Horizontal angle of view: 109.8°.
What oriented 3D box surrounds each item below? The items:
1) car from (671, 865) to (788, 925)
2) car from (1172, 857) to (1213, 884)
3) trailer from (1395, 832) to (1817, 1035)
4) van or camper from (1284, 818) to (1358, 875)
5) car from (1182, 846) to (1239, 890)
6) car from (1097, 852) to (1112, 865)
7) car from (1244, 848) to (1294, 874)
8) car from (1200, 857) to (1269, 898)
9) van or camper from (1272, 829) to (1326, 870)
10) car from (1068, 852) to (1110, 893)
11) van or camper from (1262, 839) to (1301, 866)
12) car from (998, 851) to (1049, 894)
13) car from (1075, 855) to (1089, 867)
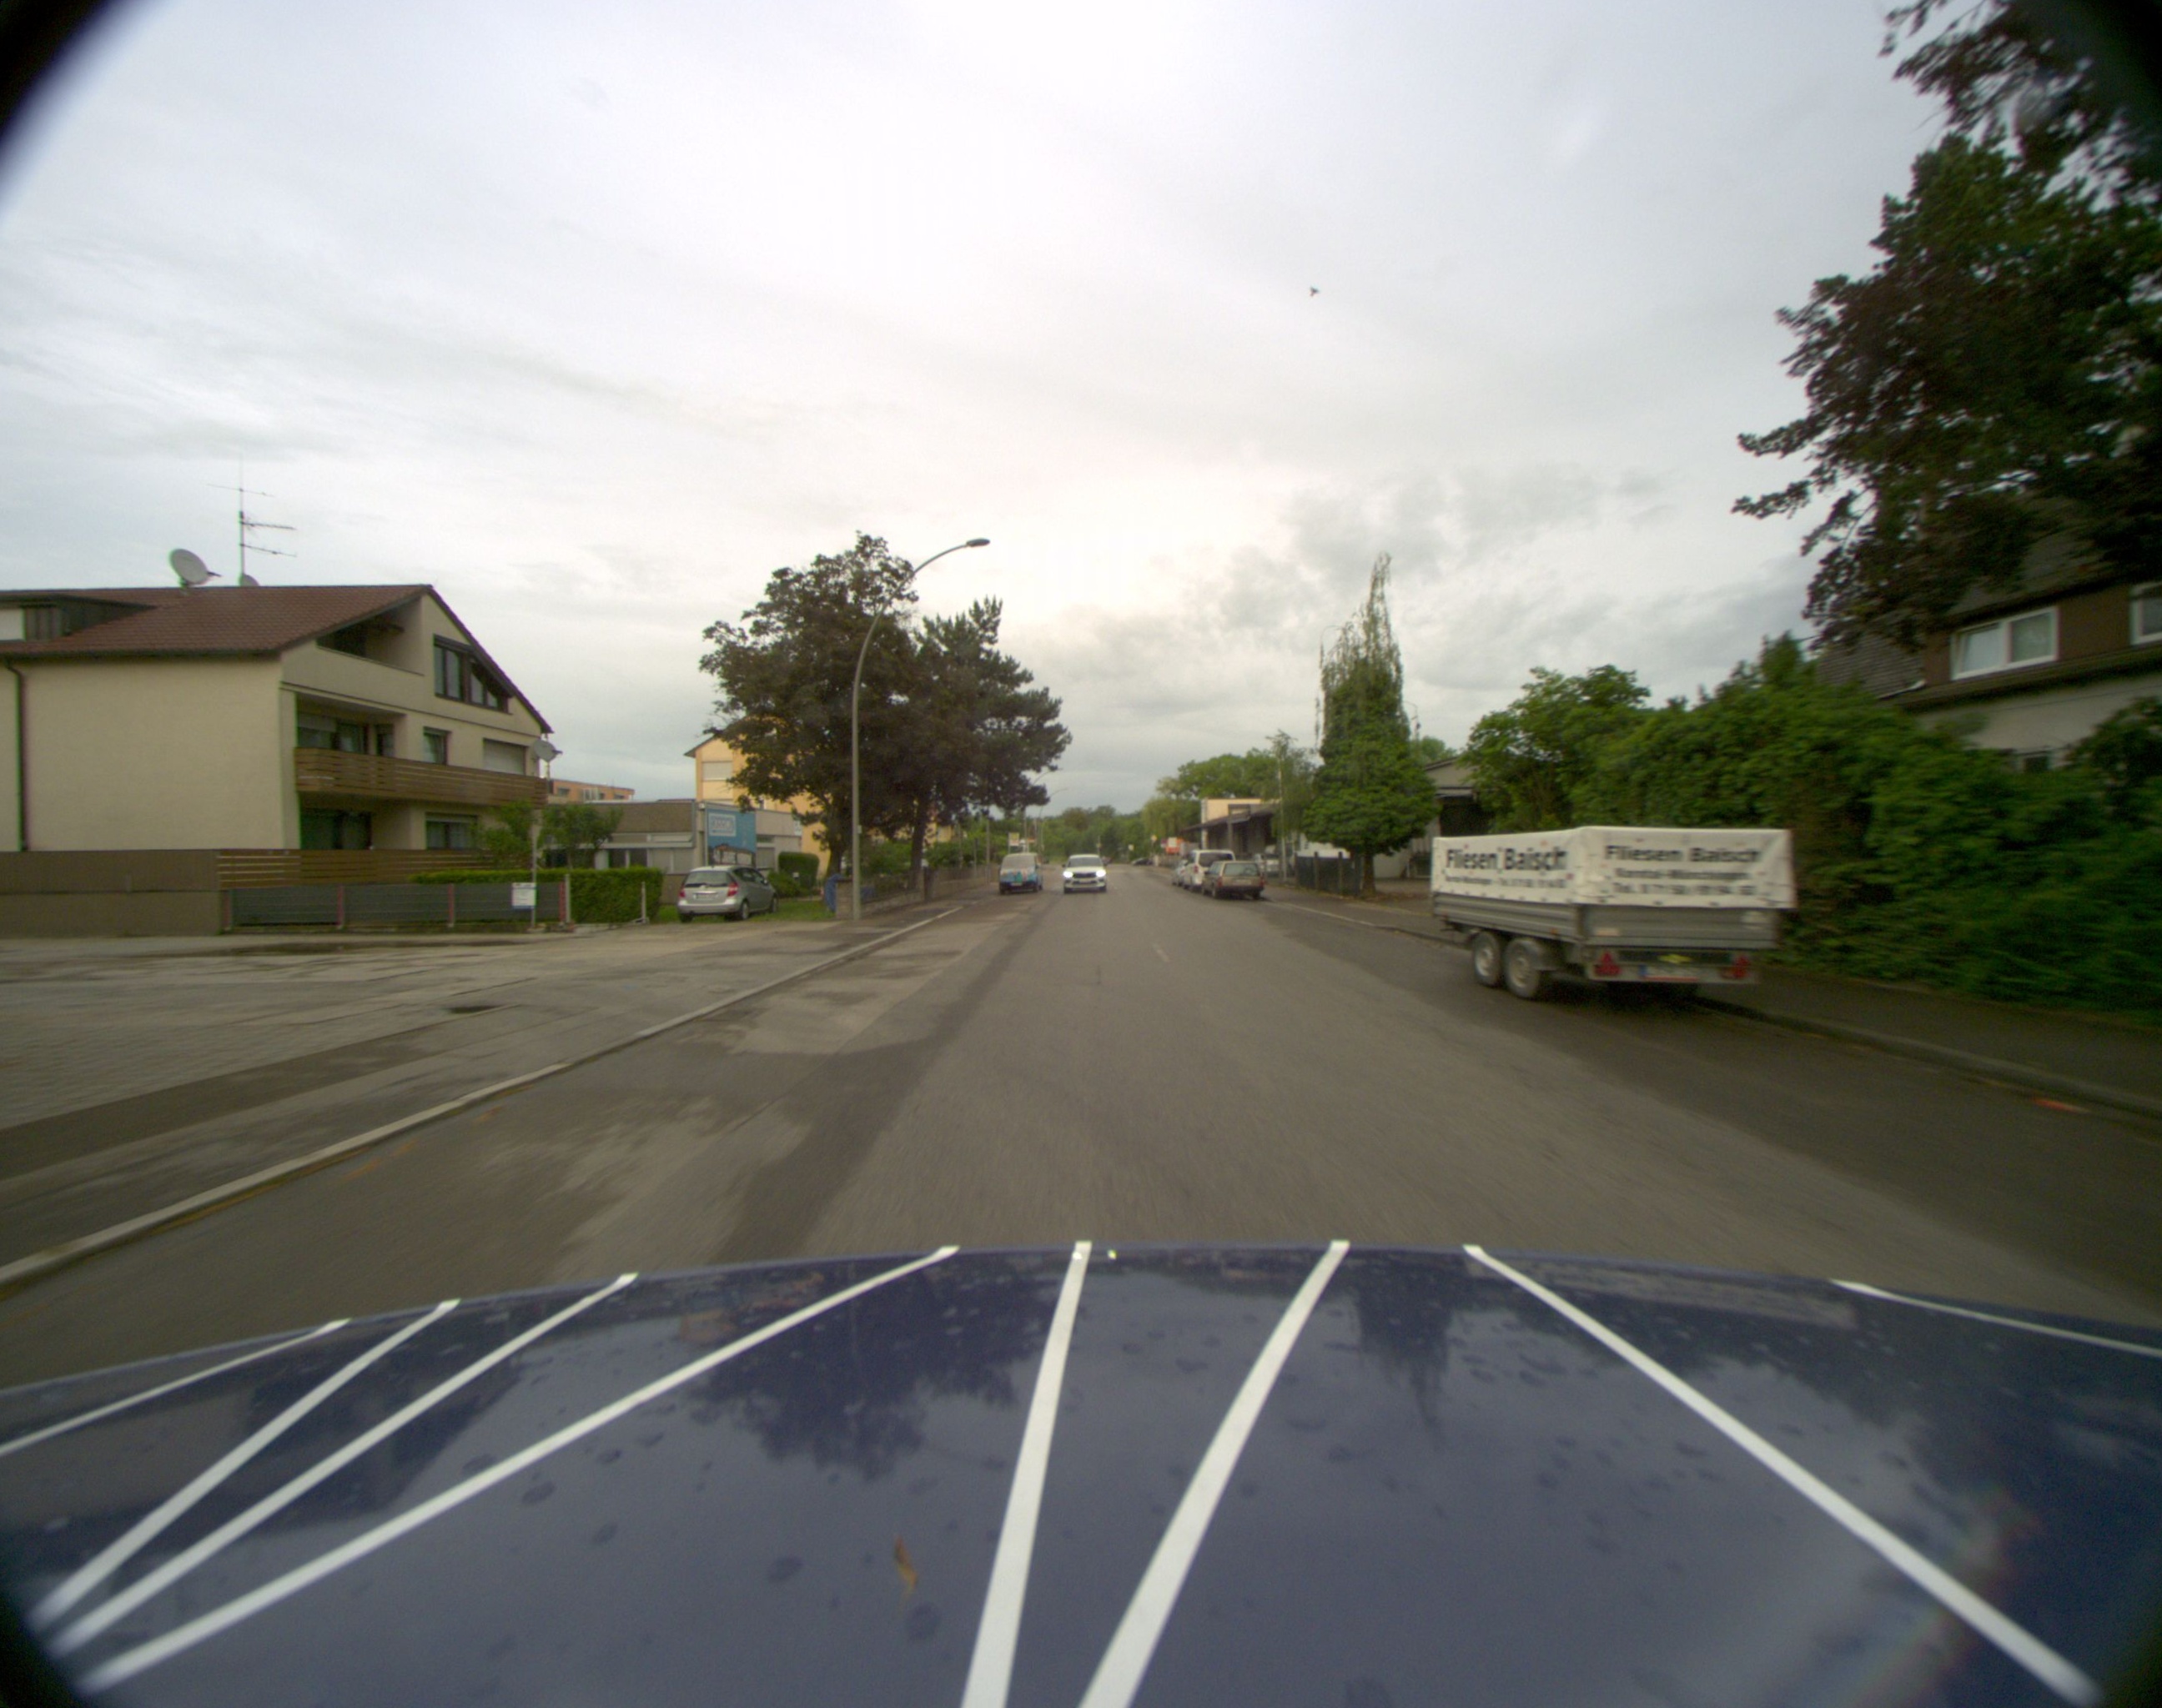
[{"bbox_3d":[-10.300,1.142,22.630,1.749,1.479,4.116,-1,0,-4],"label":"car"},{"bbox_3d":[5.969,0.846,41.267,1.642,1.357,4.707,0,1,1],"label":"car"},{"bbox_3d":[5.603,0.702,9.026,1.934,1.755,4.548,-2,0,2],"label":"trailer"},{"bbox_3d":[13.804,-0.435,44.170,2.309,3.018,6.150,-2,1,0],"label":"van or camper"},{"bbox_3d":[5.871,0.589,35.103,1.898,1.881,5.210,0,1,2],"label":"car"},{"bbox_3d":[3.073,0.534,99.539,1.898,1.678,4.231,0,1,2],"label":"car"},{"bbox_3d":[11.395,0.395,46.417,1.833,1.432,4.788,-2,1,0],"label":"car"},{"bbox_3d":[5.872,0.847,29.724,1.820,1.419,4.981,0,1,2],"label":"car"},{"bbox_3d":[14.318,-0.328,50.278,1.998,2.476,5.197,-2,1,0],"label":"van or camper"},{"bbox_3d":[0.305,0.791,34.339,1.692,1.651,3.999,-2,1,-1],"label":"car"},{"bbox_3d":[15.020,-0.142,57.127,1.926,1.924,4.374,-2,1,3],"label":"van or camper"},{"bbox_3d":[-2.676,0.812,36.722,1.735,1.817,5.553,-3,0,2],"label":"car"},{"bbox_3d":[0.104,0.806,89.725,1.564,1.332,3.129,-2,1,-1],"label":"car"}]
